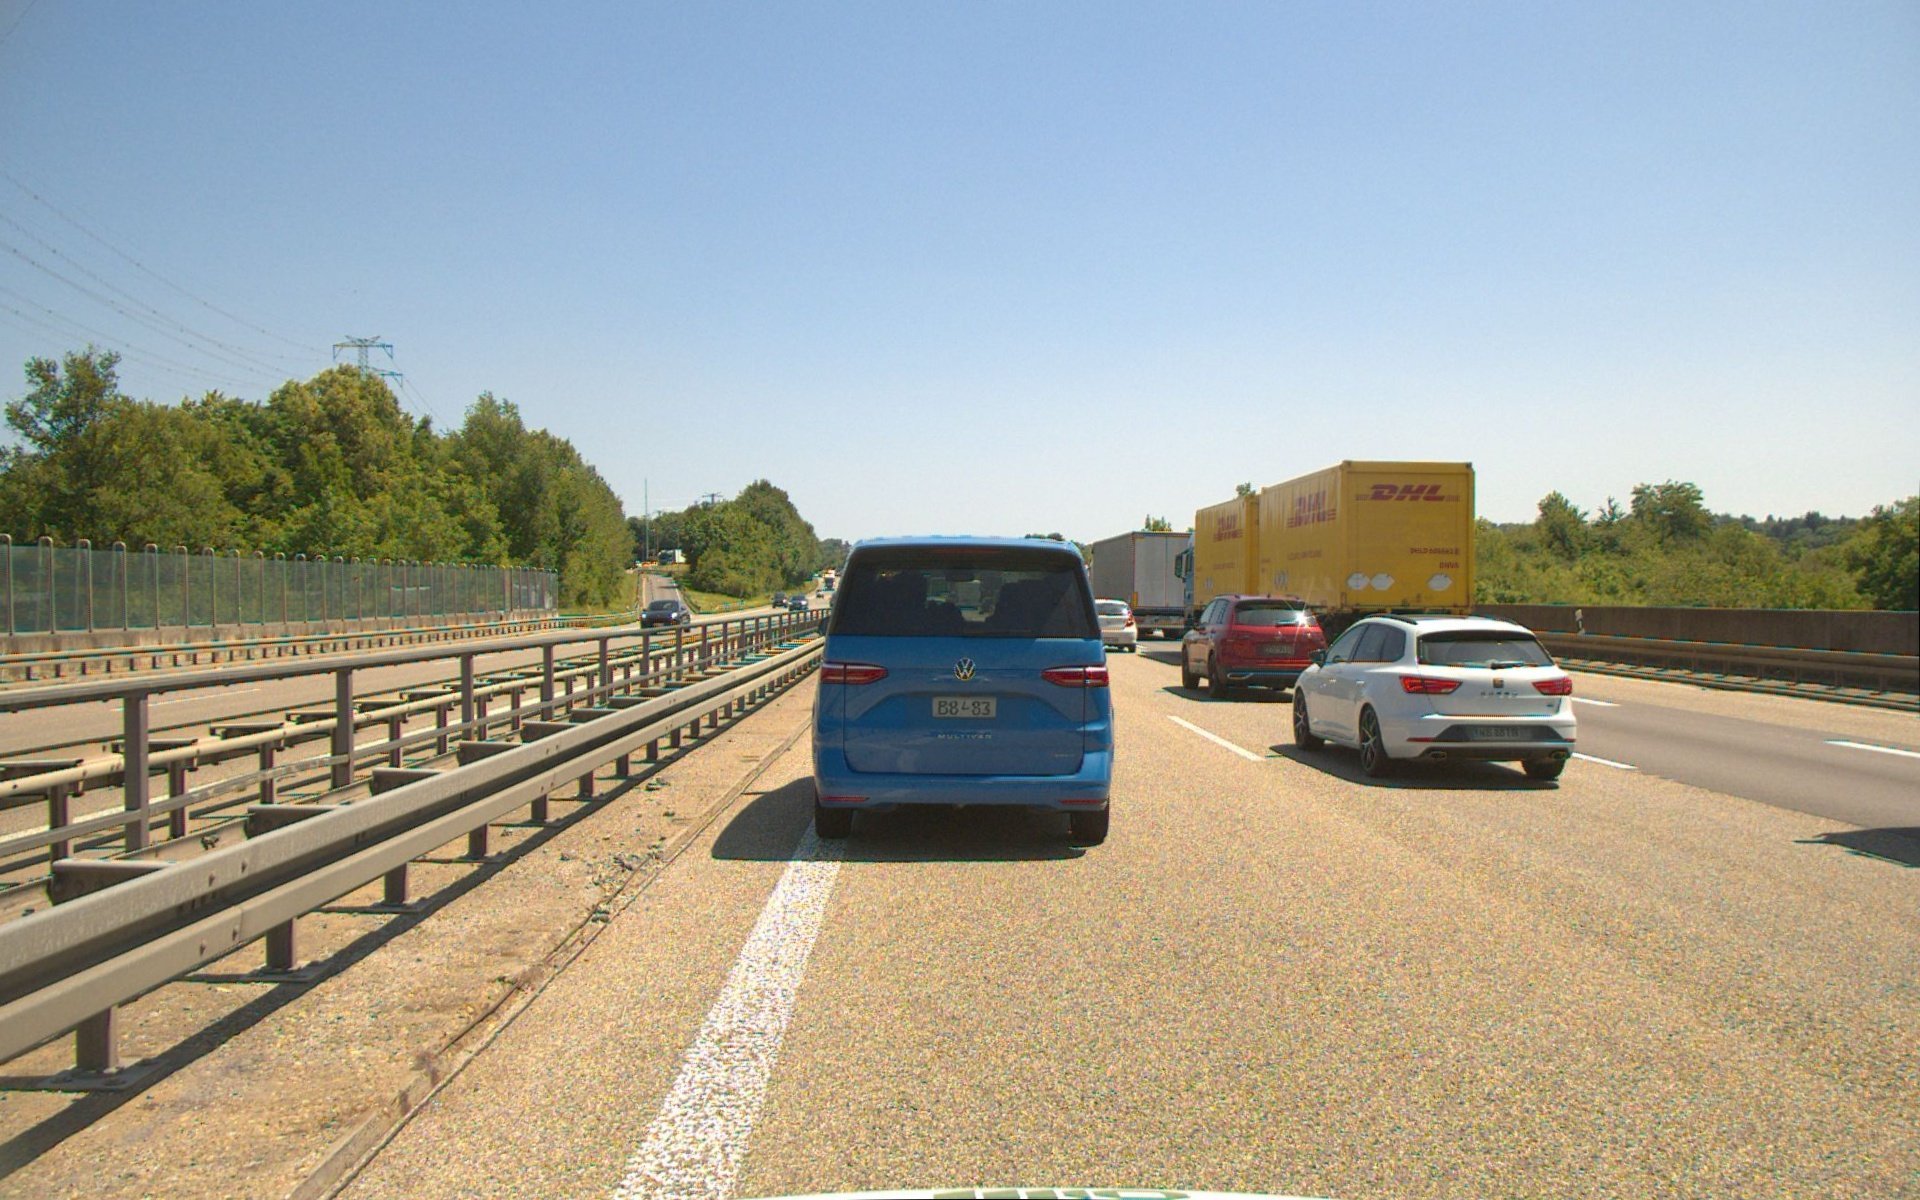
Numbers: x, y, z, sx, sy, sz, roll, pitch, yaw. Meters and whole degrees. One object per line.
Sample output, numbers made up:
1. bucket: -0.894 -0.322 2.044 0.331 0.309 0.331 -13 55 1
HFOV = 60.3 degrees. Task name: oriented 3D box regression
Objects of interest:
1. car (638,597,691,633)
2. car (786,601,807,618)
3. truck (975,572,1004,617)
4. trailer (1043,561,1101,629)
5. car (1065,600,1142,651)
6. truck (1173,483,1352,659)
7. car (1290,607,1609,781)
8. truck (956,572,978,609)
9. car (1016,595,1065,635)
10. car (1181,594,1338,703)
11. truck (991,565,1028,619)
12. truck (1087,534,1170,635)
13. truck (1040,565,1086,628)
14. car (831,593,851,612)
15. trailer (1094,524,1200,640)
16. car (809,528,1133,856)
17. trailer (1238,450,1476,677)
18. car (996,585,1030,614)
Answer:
1. car: -13.999 0.702 78.494 1.744 1.596 4.385 -2 0 -1
2. car: -16.055 0.949 162.601 1.719 1.574 3.999 -2 -1 -1
3. truck: 3.450 -0.594 196.435 2.777 5.128 11.810 1 -1 -2
4. trailer: 6.595 -0.234 98.778 2.331 3.810 11.184 1 -1 -1
5. car: 4.222 0.729 49.160 1.801 1.438 3.998 0 0 -3
6. truck: 7.845 -0.638 44.427 2.667 4.125 10.333 1 -1 -1
7. car: 4.477 0.789 15.799 1.745 1.411 4.187 1 0 -1
8. truck: 0.990 -1.327 255.249 2.777 5.467 12.548 1 -1 -2
9. car: 3.327 0.609 68.793 1.681 1.614 3.819 -1 0 -2
10. car: 4.829 0.734 27.184 1.813 1.636 3.999 0 0 -1
11. truck: 4.886 -0.725 164.847 2.777 5.128 11.140 1 -1 -2
12. truck: 7.275 -0.600 72.436 2.712 4.167 6.982 1 -1 -1
13. truck: 6.468 -0.180 104.401 2.320 3.787 6.031 1 -1 -1
14. car: -11.705 0.241 163.160 1.719 1.751 4.100 -1 0 -1
15. trailer: 7.371 -0.619 66.754 2.699 4.219 11.308 1 -1 -1
16. car: 0.034 0.531 11.474 1.844 1.869 3.999 0 0 -1
17. trailer: 8.031 -0.623 34.774 2.647 4.094 8.927 1 -1 -1
18. car: 2.974 -0.011 93.682 1.680 1.567 3.820 -1 0 -1
